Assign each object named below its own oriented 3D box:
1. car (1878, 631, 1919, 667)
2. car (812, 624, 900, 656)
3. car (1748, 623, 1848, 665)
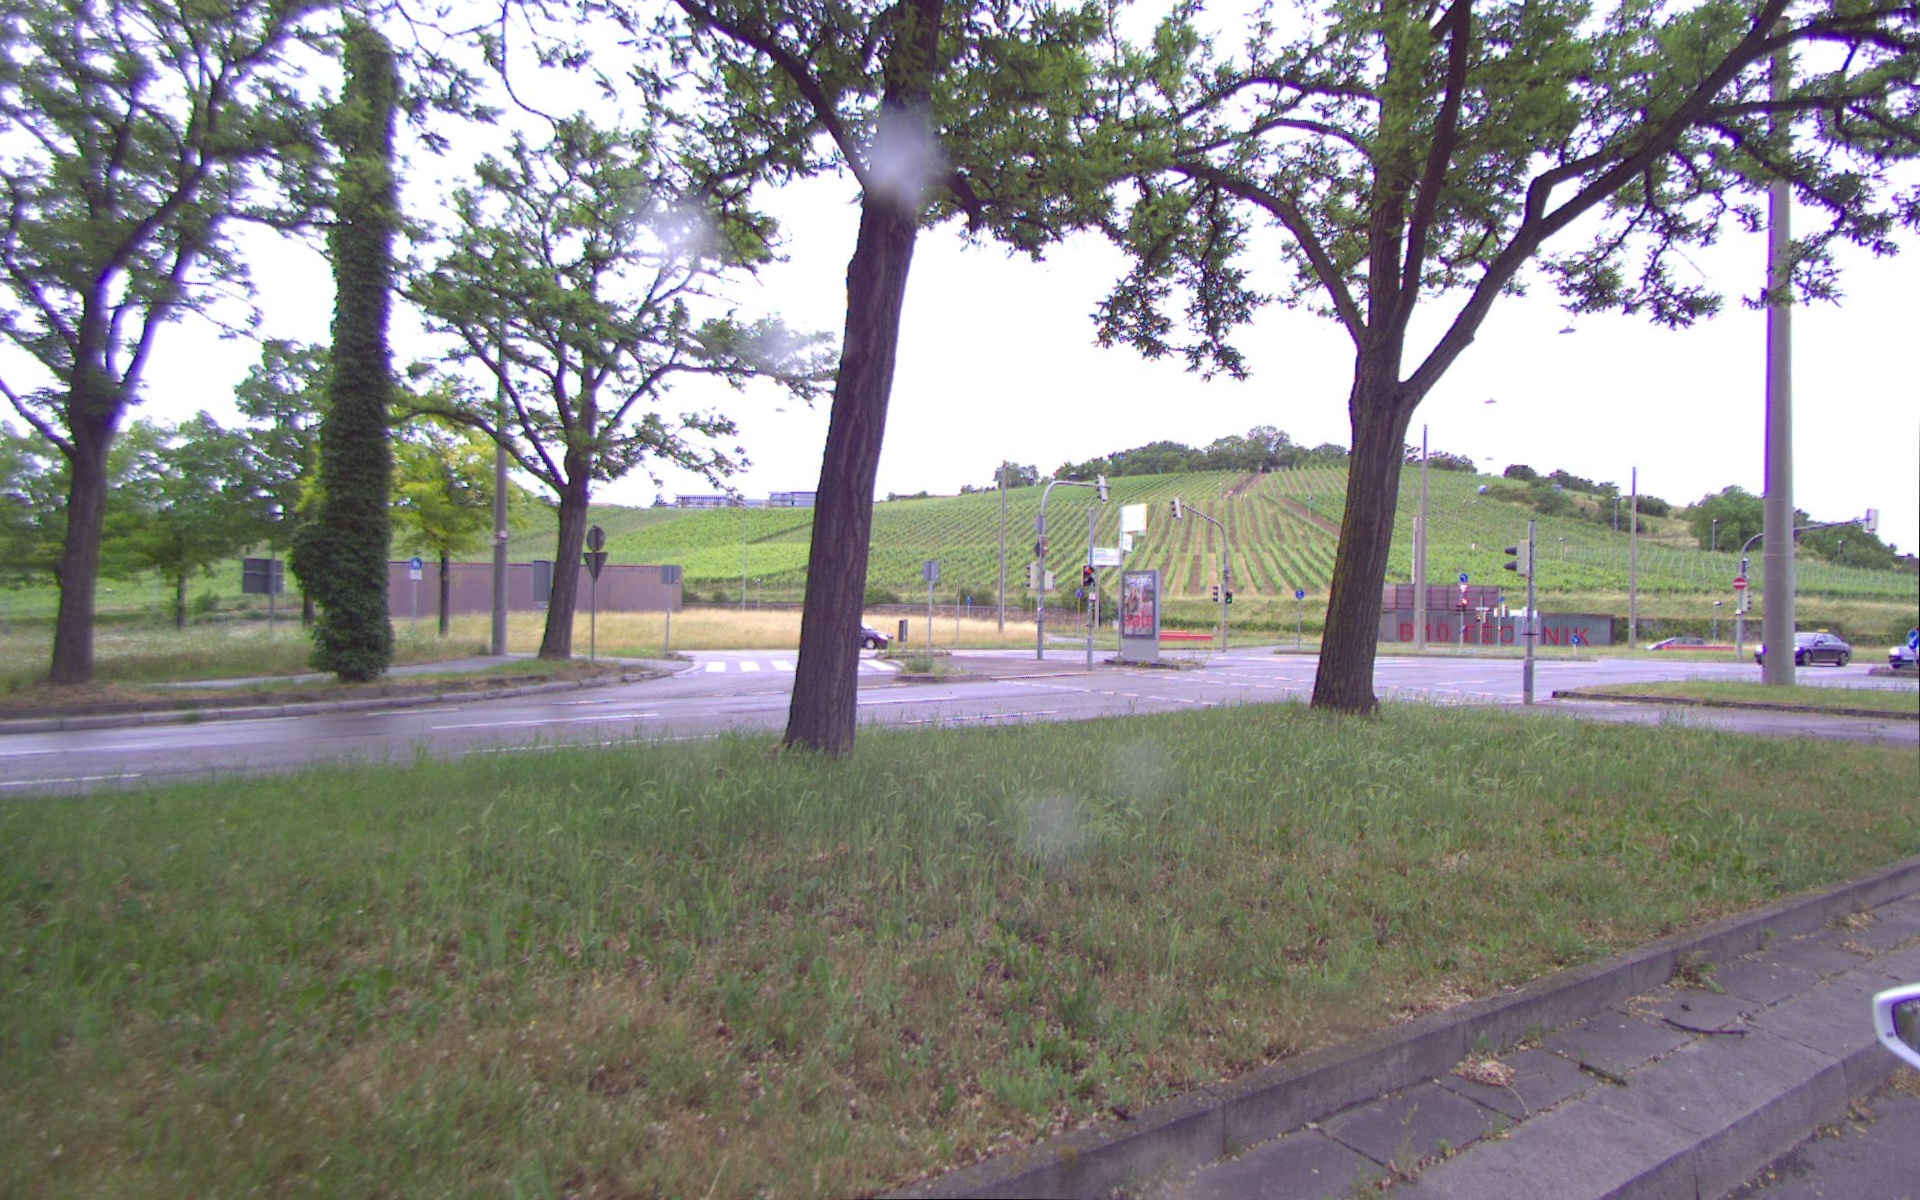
[{"bbox_3d":[41.141,2.130,42.630,3.828,1.414,1.781,2,1,-24],"label":"car"},{"bbox_3d":[-5.121,1.968,49.538,3.919,1.307,1.800,3,1,15],"label":"car"},{"bbox_3d":[37.141,1.956,44.505,4.510,1.645,1.821,2,1,-29],"label":"car"}]
